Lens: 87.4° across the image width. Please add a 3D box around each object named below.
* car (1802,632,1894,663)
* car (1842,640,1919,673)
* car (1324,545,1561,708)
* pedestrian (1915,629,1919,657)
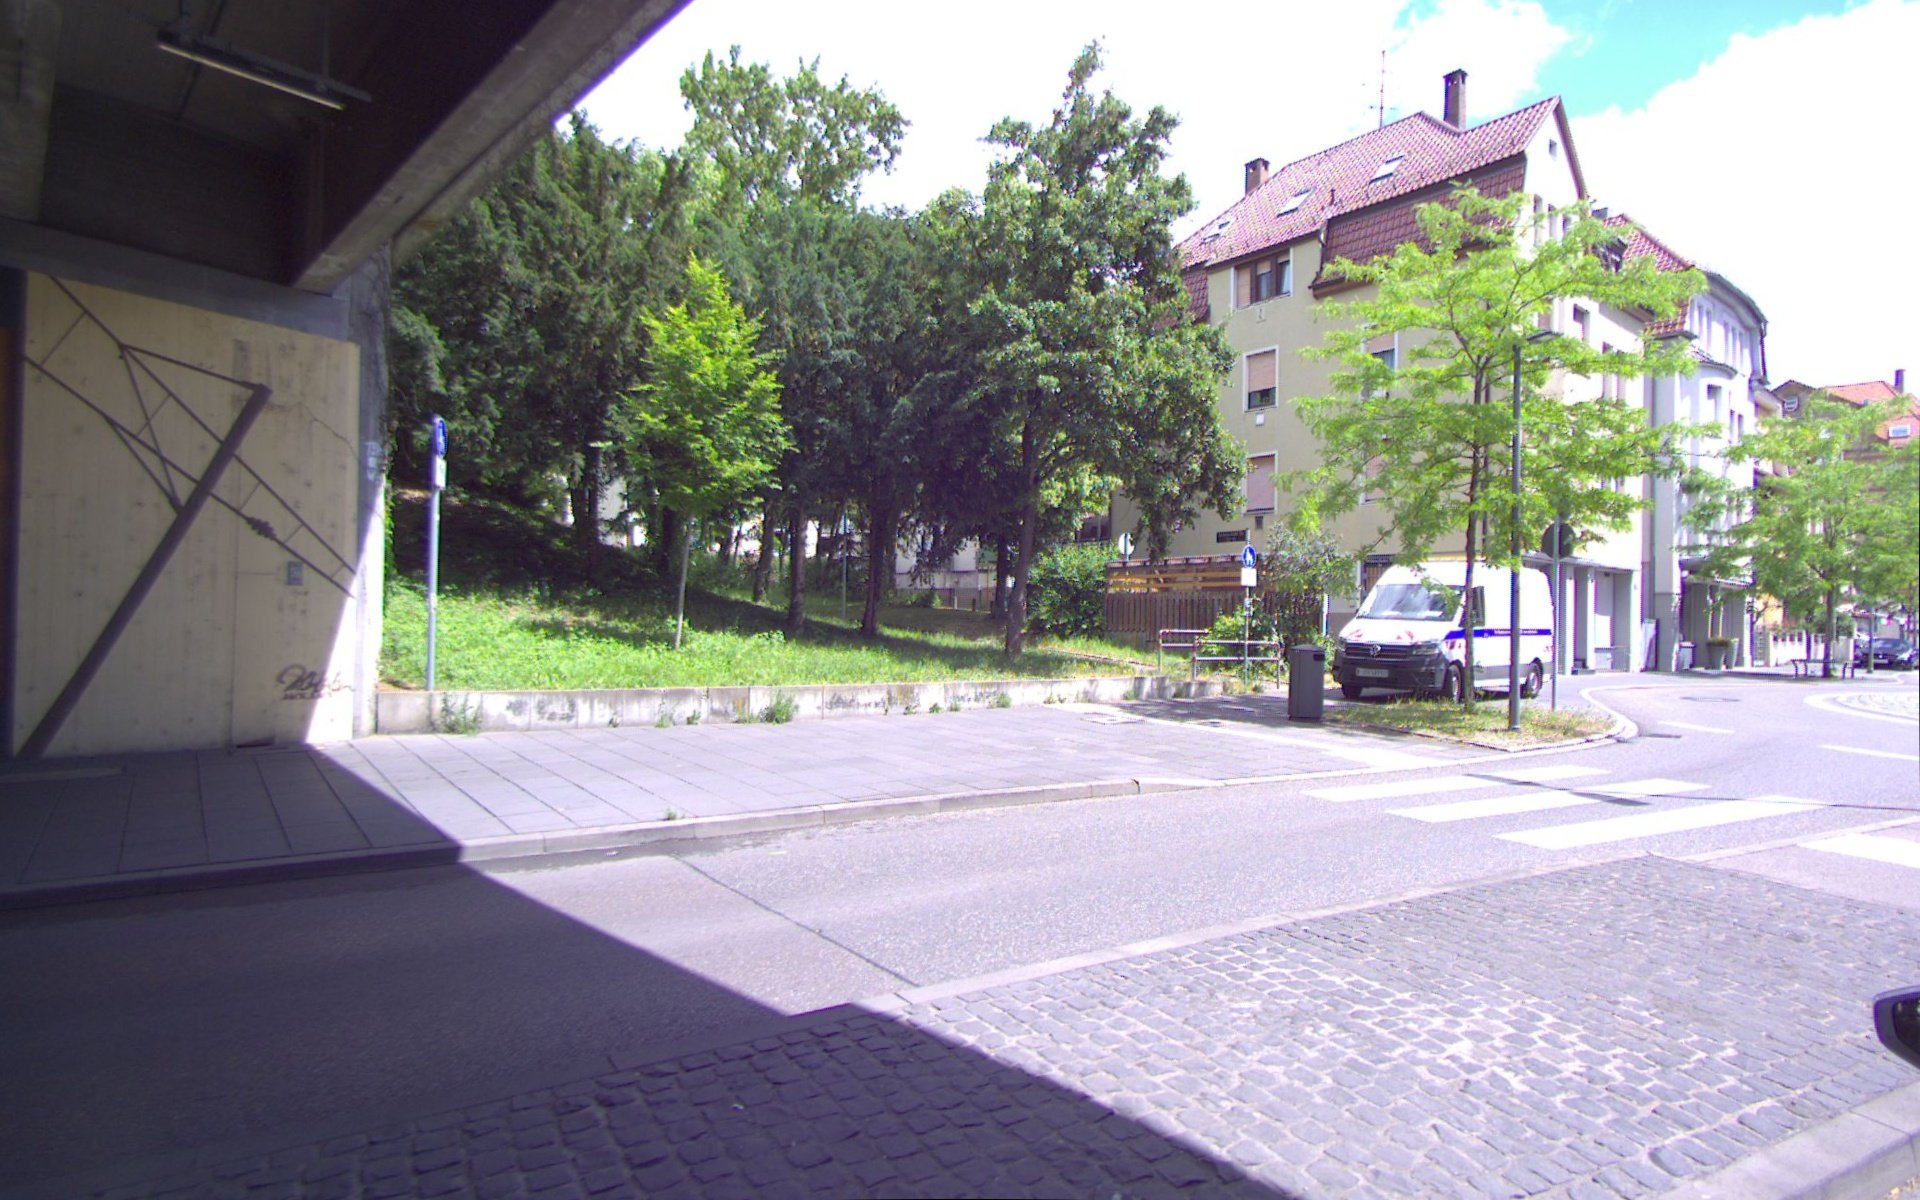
[{"bbox_3d":[58.918,3.125,66.741,4.362,1.799,1.992,1,-1,37],"label":"car"},{"bbox_3d":[38.645,2.337,42.053,4.369,1.262,1.697,2,-1,-37],"label":"car"},{"bbox_3d":[9.299,0.486,19.052,5.887,2.641,1.949,2,0,-42],"label":"car"},{"bbox_3d":[57.240,2.564,59.776,0.512,1.708,0.546,1,0,-41],"label":"pedestrian"}]
